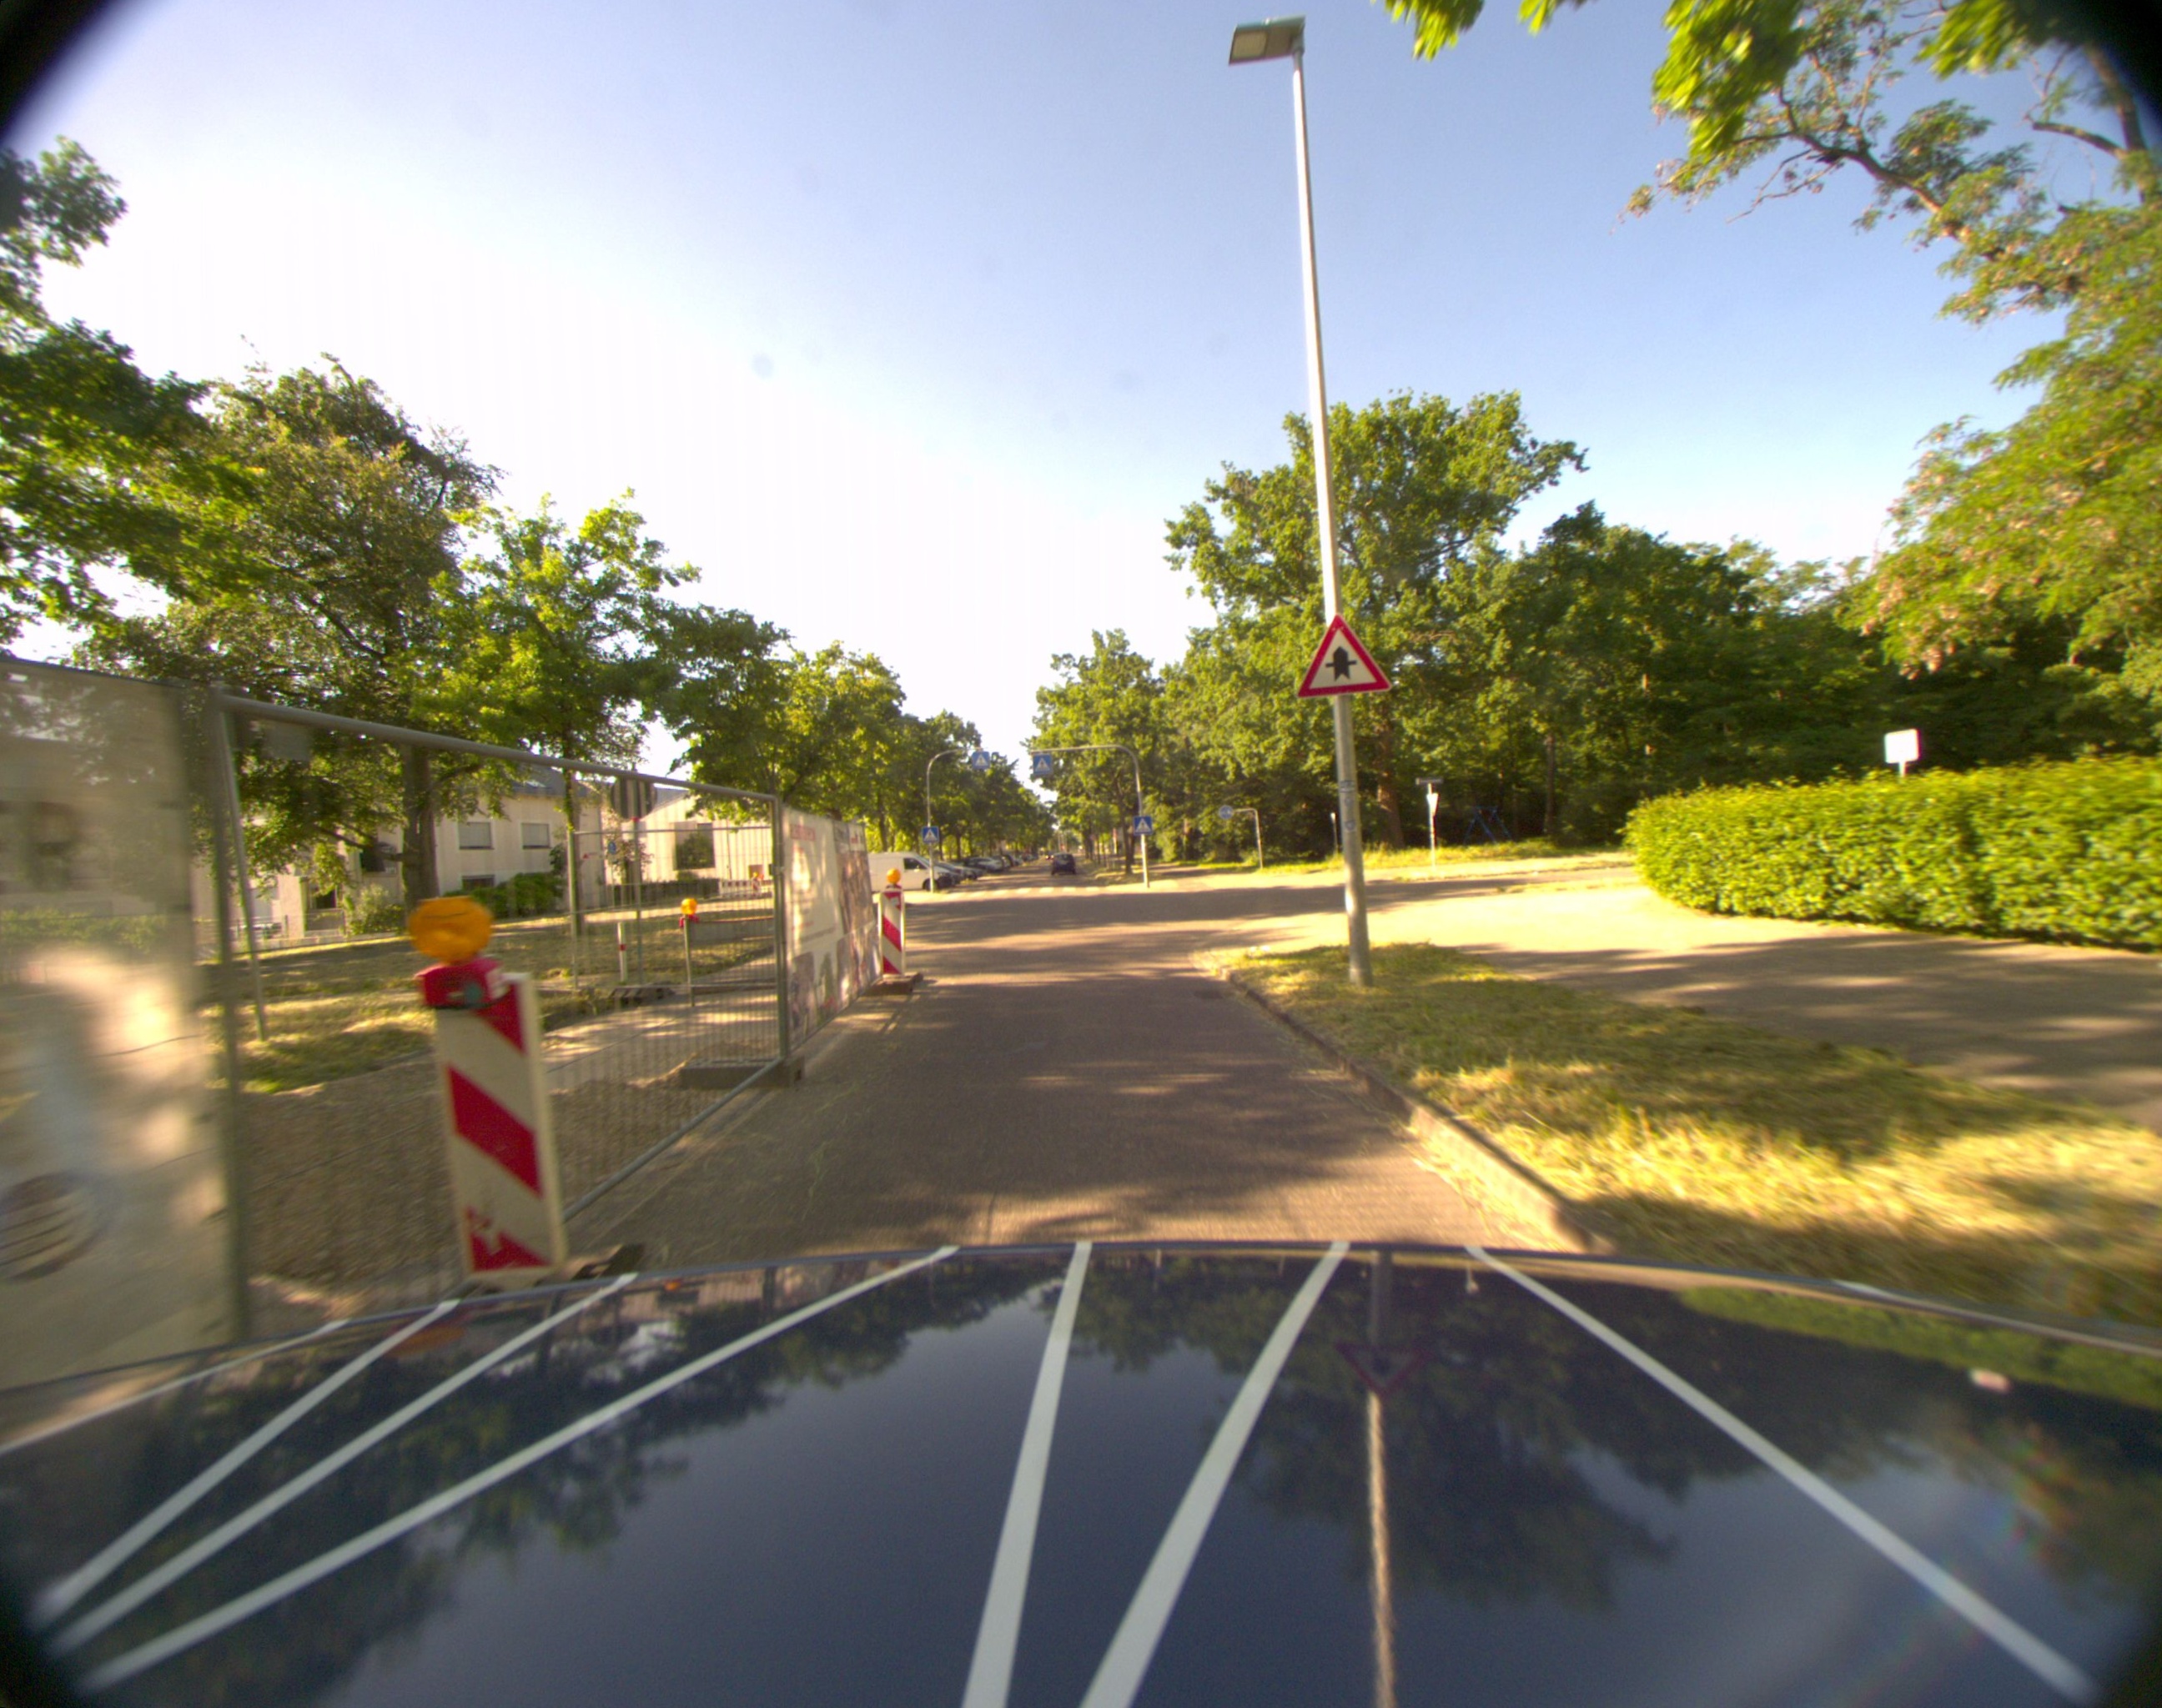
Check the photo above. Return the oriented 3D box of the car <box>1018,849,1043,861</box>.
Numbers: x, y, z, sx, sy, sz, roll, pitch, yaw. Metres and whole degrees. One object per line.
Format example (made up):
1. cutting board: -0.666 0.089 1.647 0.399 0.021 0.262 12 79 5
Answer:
1. car: -9.067 0.134 136.619 4.152 1.838 1.949 -4 1 0

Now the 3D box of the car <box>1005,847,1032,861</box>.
1. car: -10.349 -0.016 125.388 4.152 1.838 1.949 -4 1 0

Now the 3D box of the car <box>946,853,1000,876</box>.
1. car: -9.570 0.929 67.420 4.395 1.632 1.532 -4 1 1

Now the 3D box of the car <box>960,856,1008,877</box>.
1. car: -9.483 1.202 74.552 4.395 1.733 1.532 -4 1 1

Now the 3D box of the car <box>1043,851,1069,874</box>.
1. car: -1.862 0.600 57.364 1.826 1.616 4.491 -2 0 -1

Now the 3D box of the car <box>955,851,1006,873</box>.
1. car: -9.261 0.737 70.453 4.395 1.733 1.532 -4 1 1

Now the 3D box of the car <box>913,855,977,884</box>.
1. car: -9.347 1.054 52.318 4.019 1.669 1.532 -4 1 1

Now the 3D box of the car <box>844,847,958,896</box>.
1. car: -8.813 0.840 37.531 5.046 2.069 1.890 -3 1 -1

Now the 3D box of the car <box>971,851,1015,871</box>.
1. car: -9.476 0.721 81.718 4.395 1.733 1.532 -4 1 1

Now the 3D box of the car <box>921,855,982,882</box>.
1. car: -9.414 1.028 55.325 4.019 1.650 1.532 -4 1 1

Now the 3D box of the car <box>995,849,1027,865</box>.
1. car: -9.608 0.400 104.373 3.997 1.838 1.863 -4 1 0

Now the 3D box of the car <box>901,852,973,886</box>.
1. car: -8.995 0.914 47.727 4.019 1.783 1.712 -4 1 1

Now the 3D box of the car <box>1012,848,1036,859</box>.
1. car: -10.603 -0.133 141.645 4.152 1.838 1.949 -4 1 0

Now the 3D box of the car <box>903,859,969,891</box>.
1. car: -8.572 1.234 45.188 3.516 1.533 1.448 -4 1 1

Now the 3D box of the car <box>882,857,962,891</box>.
1. car: -8.914 1.095 42.833 3.997 1.554 1.757 -4 1 1
